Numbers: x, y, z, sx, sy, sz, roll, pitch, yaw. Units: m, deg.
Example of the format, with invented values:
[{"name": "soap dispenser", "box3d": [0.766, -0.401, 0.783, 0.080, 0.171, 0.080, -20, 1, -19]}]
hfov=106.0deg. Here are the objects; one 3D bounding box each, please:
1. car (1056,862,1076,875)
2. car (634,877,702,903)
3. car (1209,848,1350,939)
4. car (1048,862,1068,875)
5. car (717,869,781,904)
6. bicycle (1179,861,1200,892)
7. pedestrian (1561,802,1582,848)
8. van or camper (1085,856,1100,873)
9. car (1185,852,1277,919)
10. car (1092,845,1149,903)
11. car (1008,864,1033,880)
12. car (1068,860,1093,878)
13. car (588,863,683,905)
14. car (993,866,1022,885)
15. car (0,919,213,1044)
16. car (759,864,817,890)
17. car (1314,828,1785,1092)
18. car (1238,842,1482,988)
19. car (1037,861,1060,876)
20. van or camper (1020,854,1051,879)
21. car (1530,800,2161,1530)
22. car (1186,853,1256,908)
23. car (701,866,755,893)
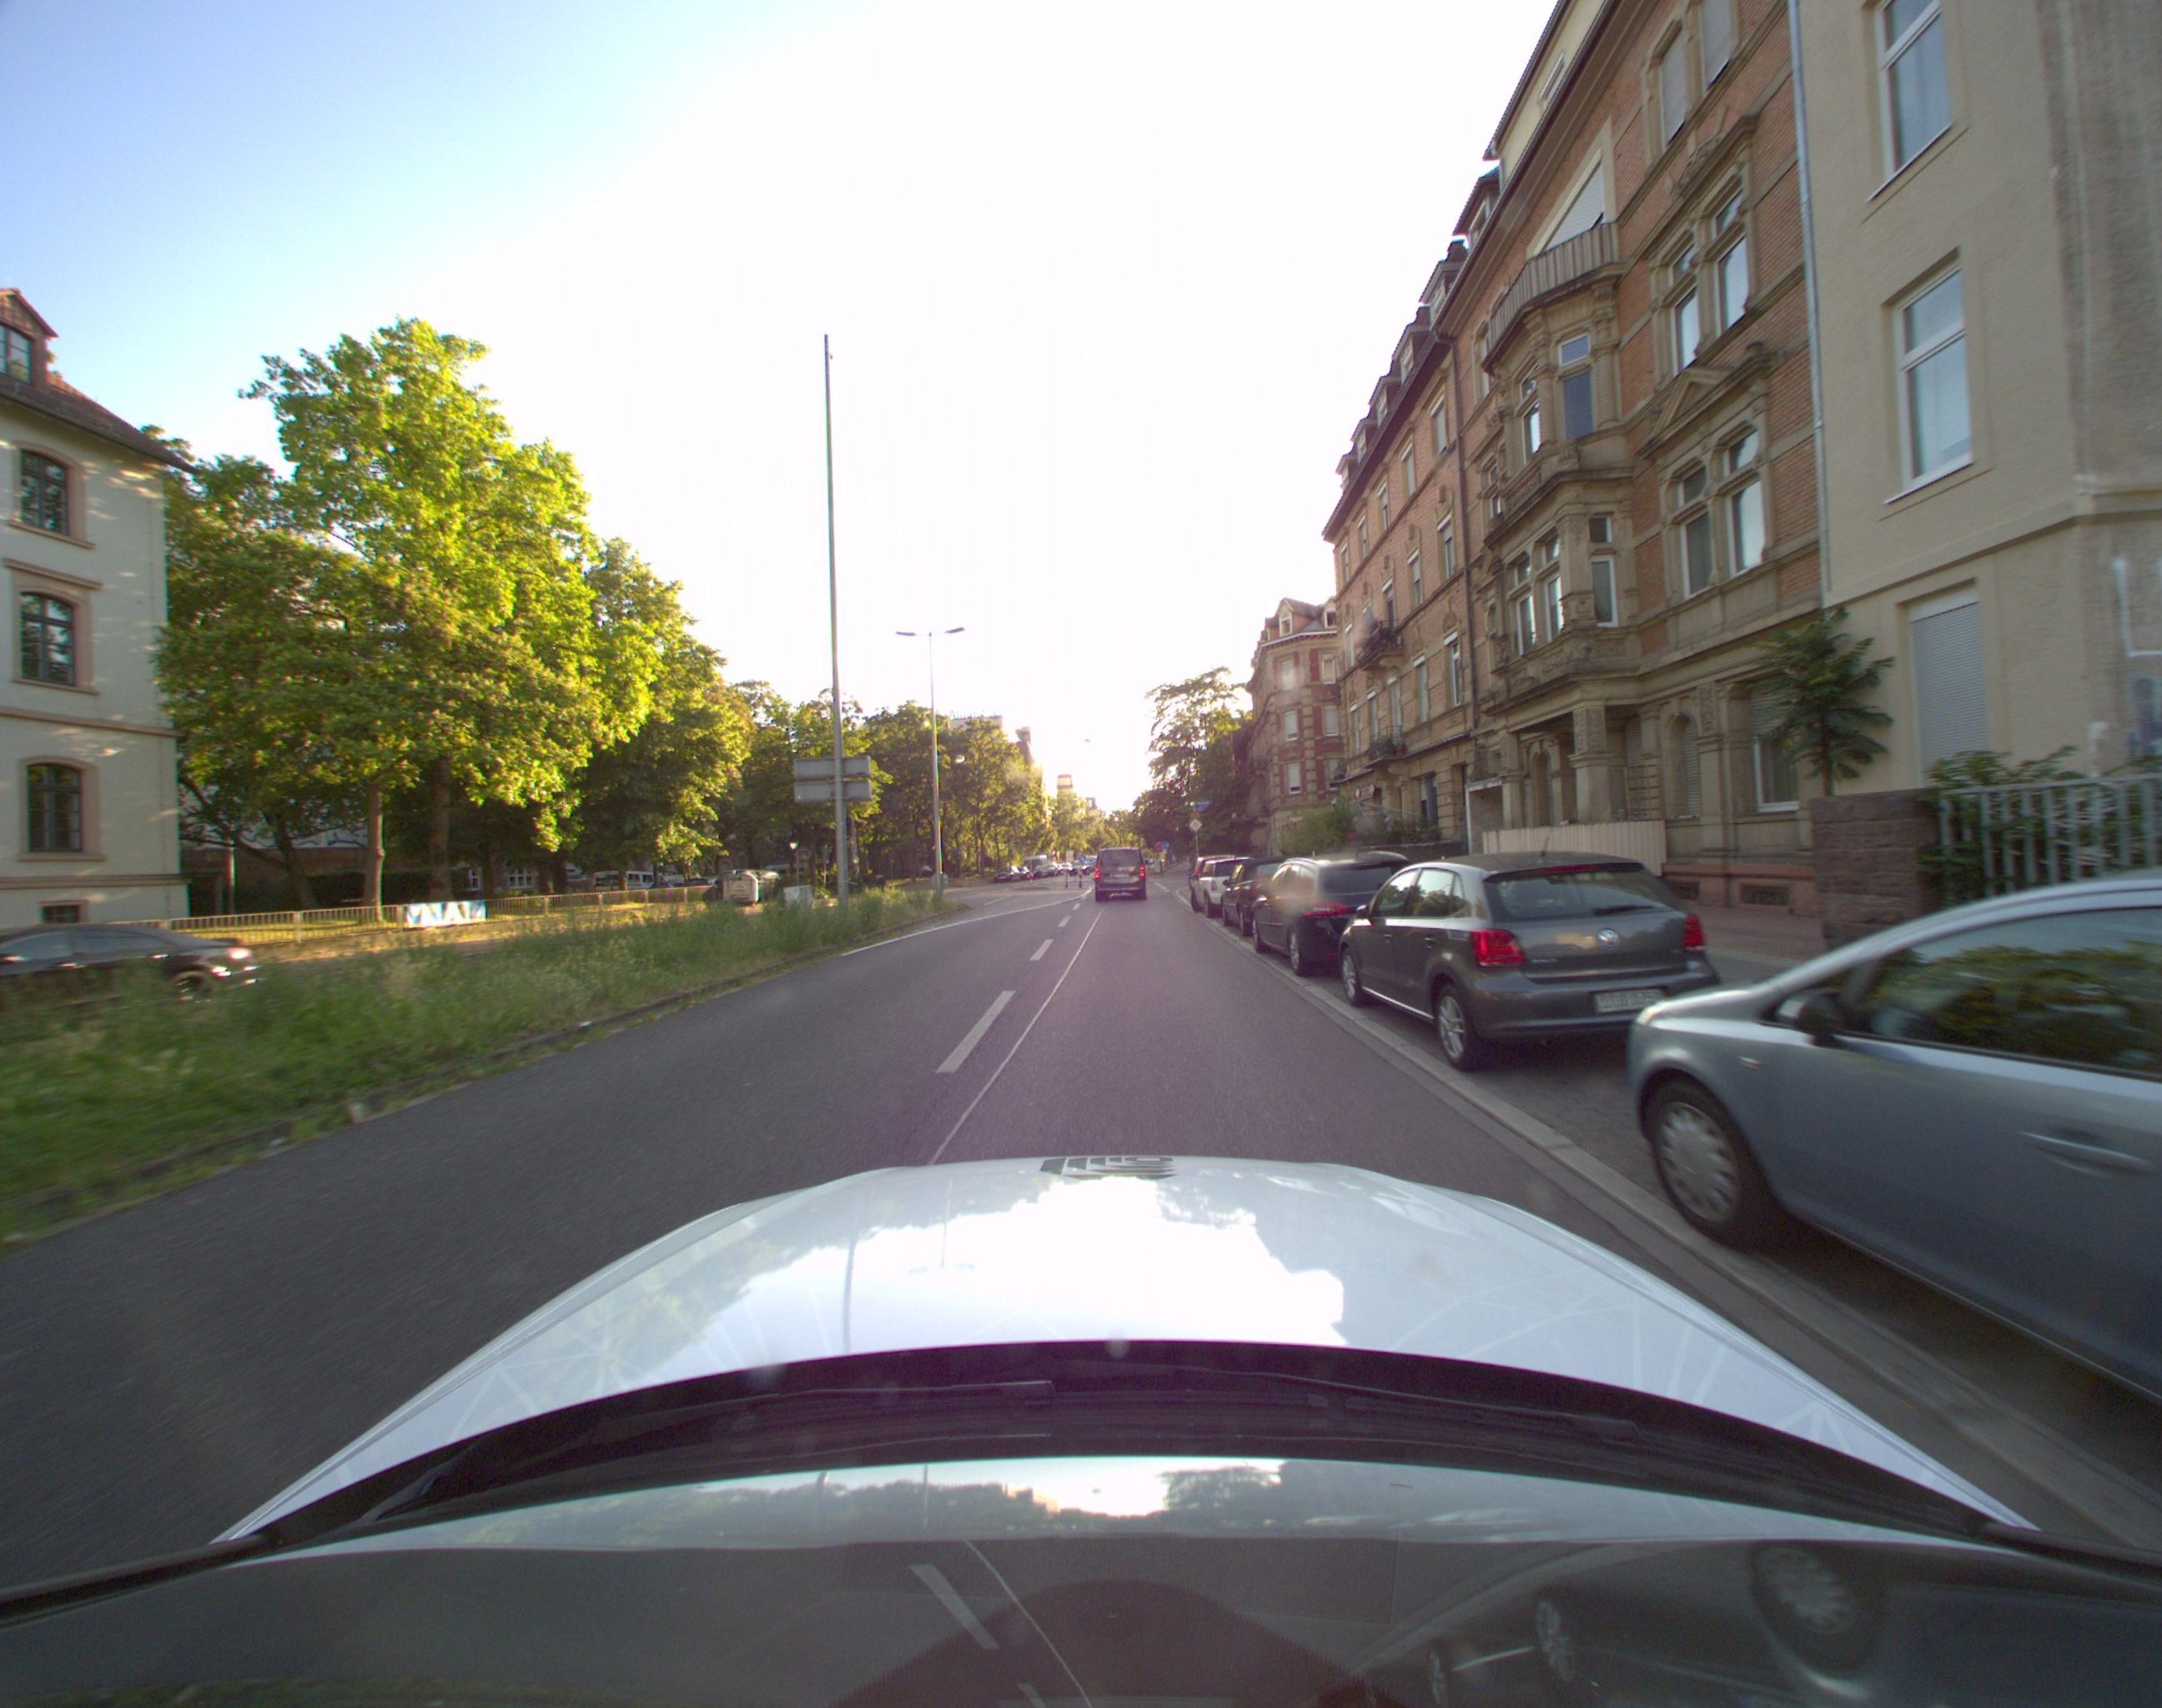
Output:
[{"name": "car", "box3d": [-1.944, 1.888, 107.607, 1.983, 1.483, 4.839, -3, -1, 7]}, {"name": "car", "box3d": [-24.166, 2.091, 47.850, 1.725, 1.332, 4.003, -2, 0, 3]}, {"name": "car", "box3d": [3.866, 0.712, 16.647, 1.880, 1.426, 4.345, -6, -1, 3]}, {"name": "car", "box3d": [-2.806, 1.767, 100.848, 1.727, 1.445, 4.634, -3, -1, 7]}, {"name": "car", "box3d": [-19.184, 1.849, 47.215, 1.811, 1.795, 4.003, -2, 0, 3]}, {"name": "bicycle", "box3d": [4.794, 1.003, 36.087, 0.563, 1.299, 2.266, -7, -2, 3]}, {"name": "pedestrian", "box3d": [9.458, -0.561, 15.702, 0.305, 0.870, 0.322, -1, -1, 35]}, {"name": "van or camper", "box3d": [1.832, 1.613, 128.082, 1.985, 2.669, 6.043, -1, 0, 3]}, {"name": "car", "box3d": [3.790, 0.767, 21.201, 1.671, 1.426, 3.677, -6, -1, 1]}, {"name": "car", "box3d": [1.447, 0.722, 30.529, 1.880, 1.925, 3.841, -3, -1, 2]}, {"name": "car", "box3d": [-5.944, 1.766, 80.430, 1.620, 1.429, 4.250, -4, -1, 7]}, {"name": "car", "box3d": [-0.004, 1.611, 89.497, 1.865, 1.706, 4.579, -5, -1, 9]}, {"name": "car", "box3d": [-26.515, 1.723, 48.701, 2.202, 2.289, 5.112, -2, 0, 10]}, {"name": "car", "box3d": [-6.657, 1.929, 74.434, 1.614, 1.506, 4.553, -3, -1, 8]}, {"name": "car", "box3d": [-13.304, 1.638, 9.531, 1.767, 1.273, 4.011, -6, -1, 3]}, {"name": "car", "box3d": [-31.030, 2.438, 86.356, 2.244, 2.485, 5.267, -3, -1, 41]}, {"name": "car", "box3d": [3.387, 0.657, 6.864, 1.740, 1.426, 3.842, -6, -1, 2]}, {"name": "car", "box3d": [3.545, 0.700, 11.338, 1.880, 1.448, 4.466, -6, -1, 2]}, {"name": "car", "box3d": [-3.760, 1.705, 95.379, 1.856, 1.645, 4.580, -4, -1, 7]}, {"name": "van or camper", "box3d": [-4.857, 1.258, 87.884, 2.080, 2.468, 6.317, -4, -1, 7]}, {"name": "car", "box3d": [3.097, 0.627, 2.059, 1.694, 1.487, 3.893, -6, -1, 1]}, {"name": "car", "box3d": [4.366, 0.786, 25.823, 1.718, 1.465, 3.551, -6, -1, 4]}, {"name": "car", "box3d": [-25.855, 1.853, 59.799, 1.985, 1.882, 4.003, -1, 0, 3]}]
